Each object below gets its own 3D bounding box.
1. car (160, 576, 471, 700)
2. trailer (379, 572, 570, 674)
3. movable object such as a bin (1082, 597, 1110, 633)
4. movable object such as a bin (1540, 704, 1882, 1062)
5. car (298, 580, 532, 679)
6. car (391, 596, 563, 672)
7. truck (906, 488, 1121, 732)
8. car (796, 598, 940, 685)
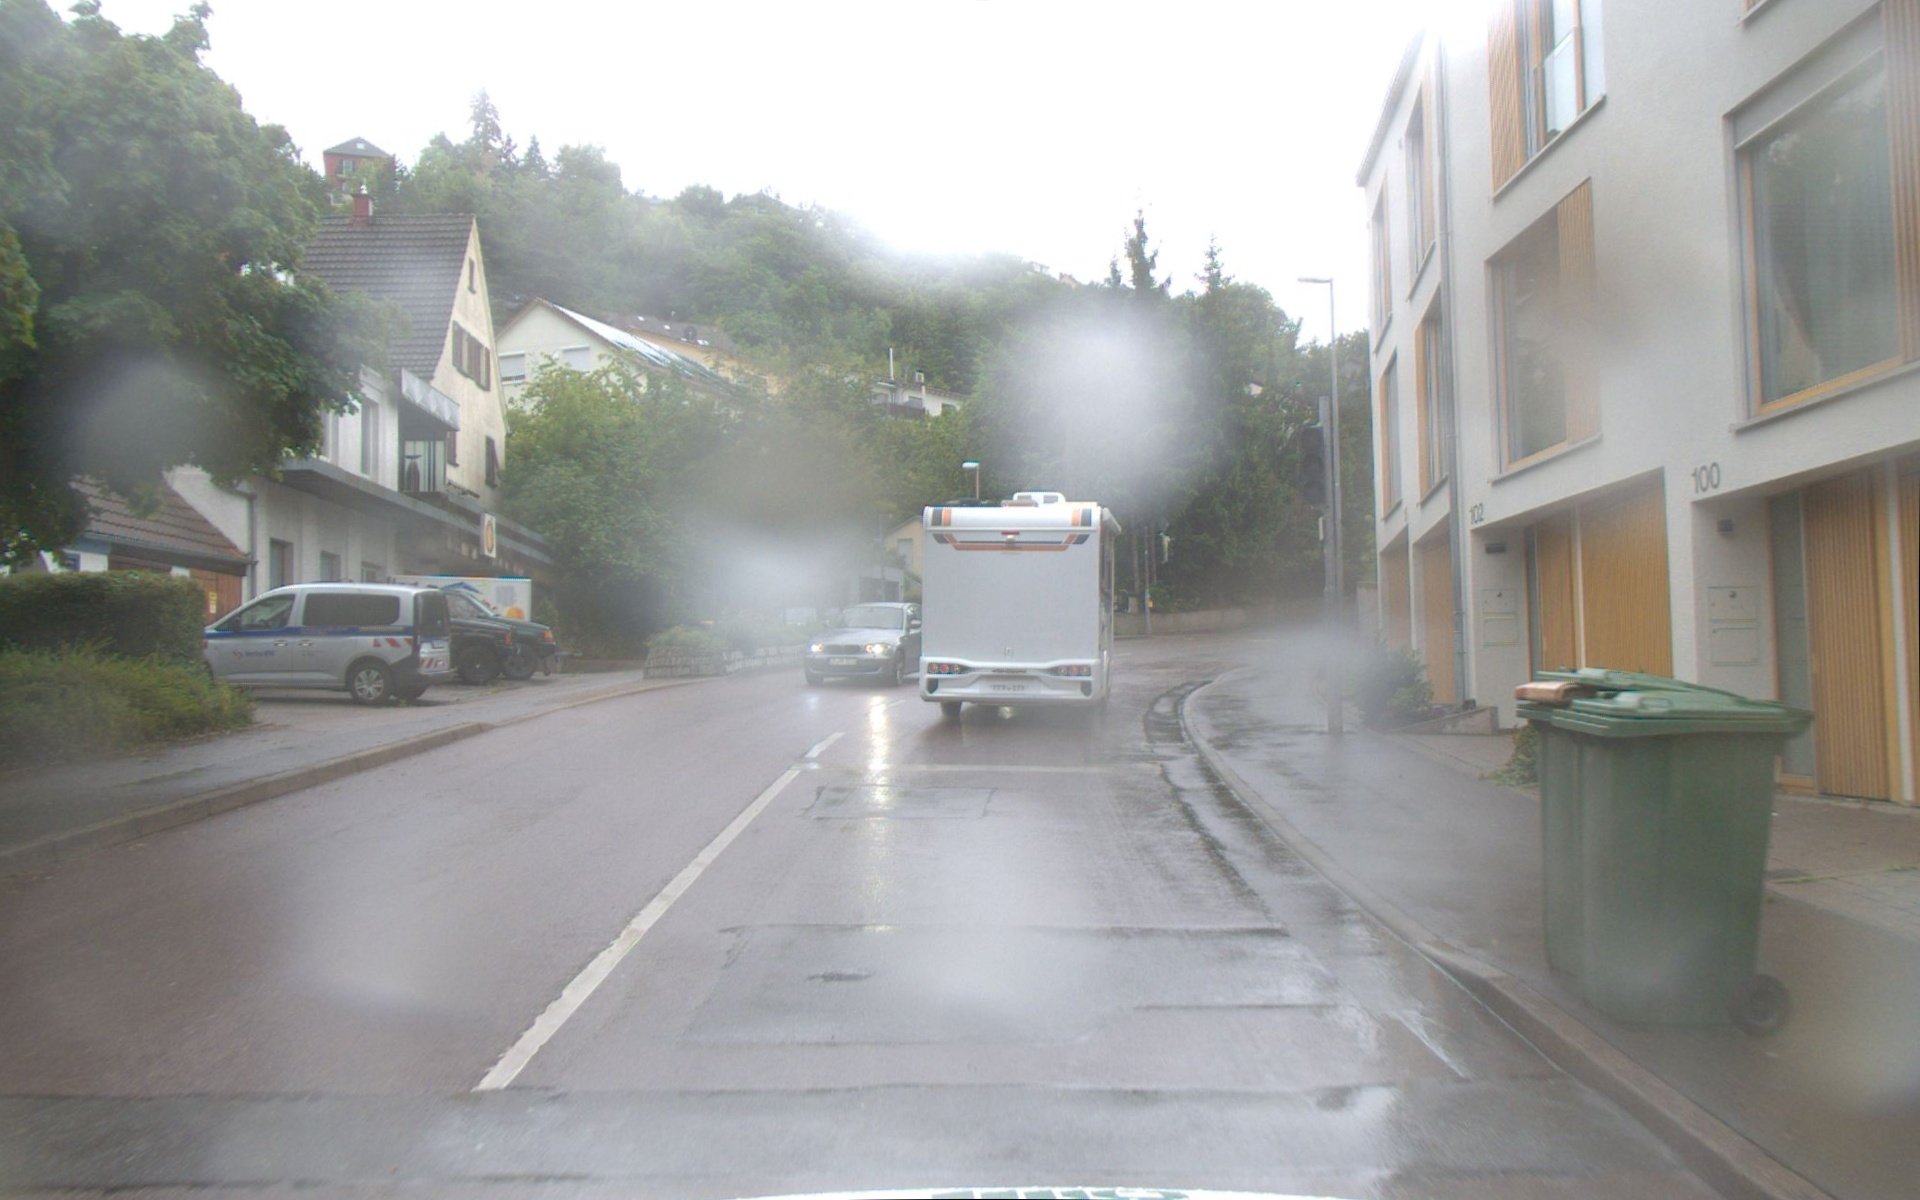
[{"bbox_3d":[-9.912,0.568,25.670,4.021,1.831,2.000,0,0,0],"label":"car"},{"bbox_3d":[-10.928,0.501,37.181,3.896,2.139,1.939,-1,-1,-24],"label":"trailer"},{"bbox_3d":[4.212,0.452,51.215,0.697,1.107,0.554,0,0,-31],"label":"movable object such as a bin"},{"bbox_3d":[2.507,0.919,5.606,0.818,1.079,0.750,0,0,0],"label":"movable object such as a bin"},{"bbox_3d":[-10.354,0.556,31.702,4.003,1.805,1.794,1,0,-11],"label":"car"},{"bbox_3d":[-9.918,0.679,34.207,3.276,1.511,1.834,0,0,-13],"label":"car"},{"bbox_3d":[0.924,0.099,22.611,2.462,2.867,6.206,0,0,6],"label":"truck"},{"bbox_3d":[-1.582,0.695,29.893,1.780,1.447,3.903,0,0,10],"label":"car"}]
